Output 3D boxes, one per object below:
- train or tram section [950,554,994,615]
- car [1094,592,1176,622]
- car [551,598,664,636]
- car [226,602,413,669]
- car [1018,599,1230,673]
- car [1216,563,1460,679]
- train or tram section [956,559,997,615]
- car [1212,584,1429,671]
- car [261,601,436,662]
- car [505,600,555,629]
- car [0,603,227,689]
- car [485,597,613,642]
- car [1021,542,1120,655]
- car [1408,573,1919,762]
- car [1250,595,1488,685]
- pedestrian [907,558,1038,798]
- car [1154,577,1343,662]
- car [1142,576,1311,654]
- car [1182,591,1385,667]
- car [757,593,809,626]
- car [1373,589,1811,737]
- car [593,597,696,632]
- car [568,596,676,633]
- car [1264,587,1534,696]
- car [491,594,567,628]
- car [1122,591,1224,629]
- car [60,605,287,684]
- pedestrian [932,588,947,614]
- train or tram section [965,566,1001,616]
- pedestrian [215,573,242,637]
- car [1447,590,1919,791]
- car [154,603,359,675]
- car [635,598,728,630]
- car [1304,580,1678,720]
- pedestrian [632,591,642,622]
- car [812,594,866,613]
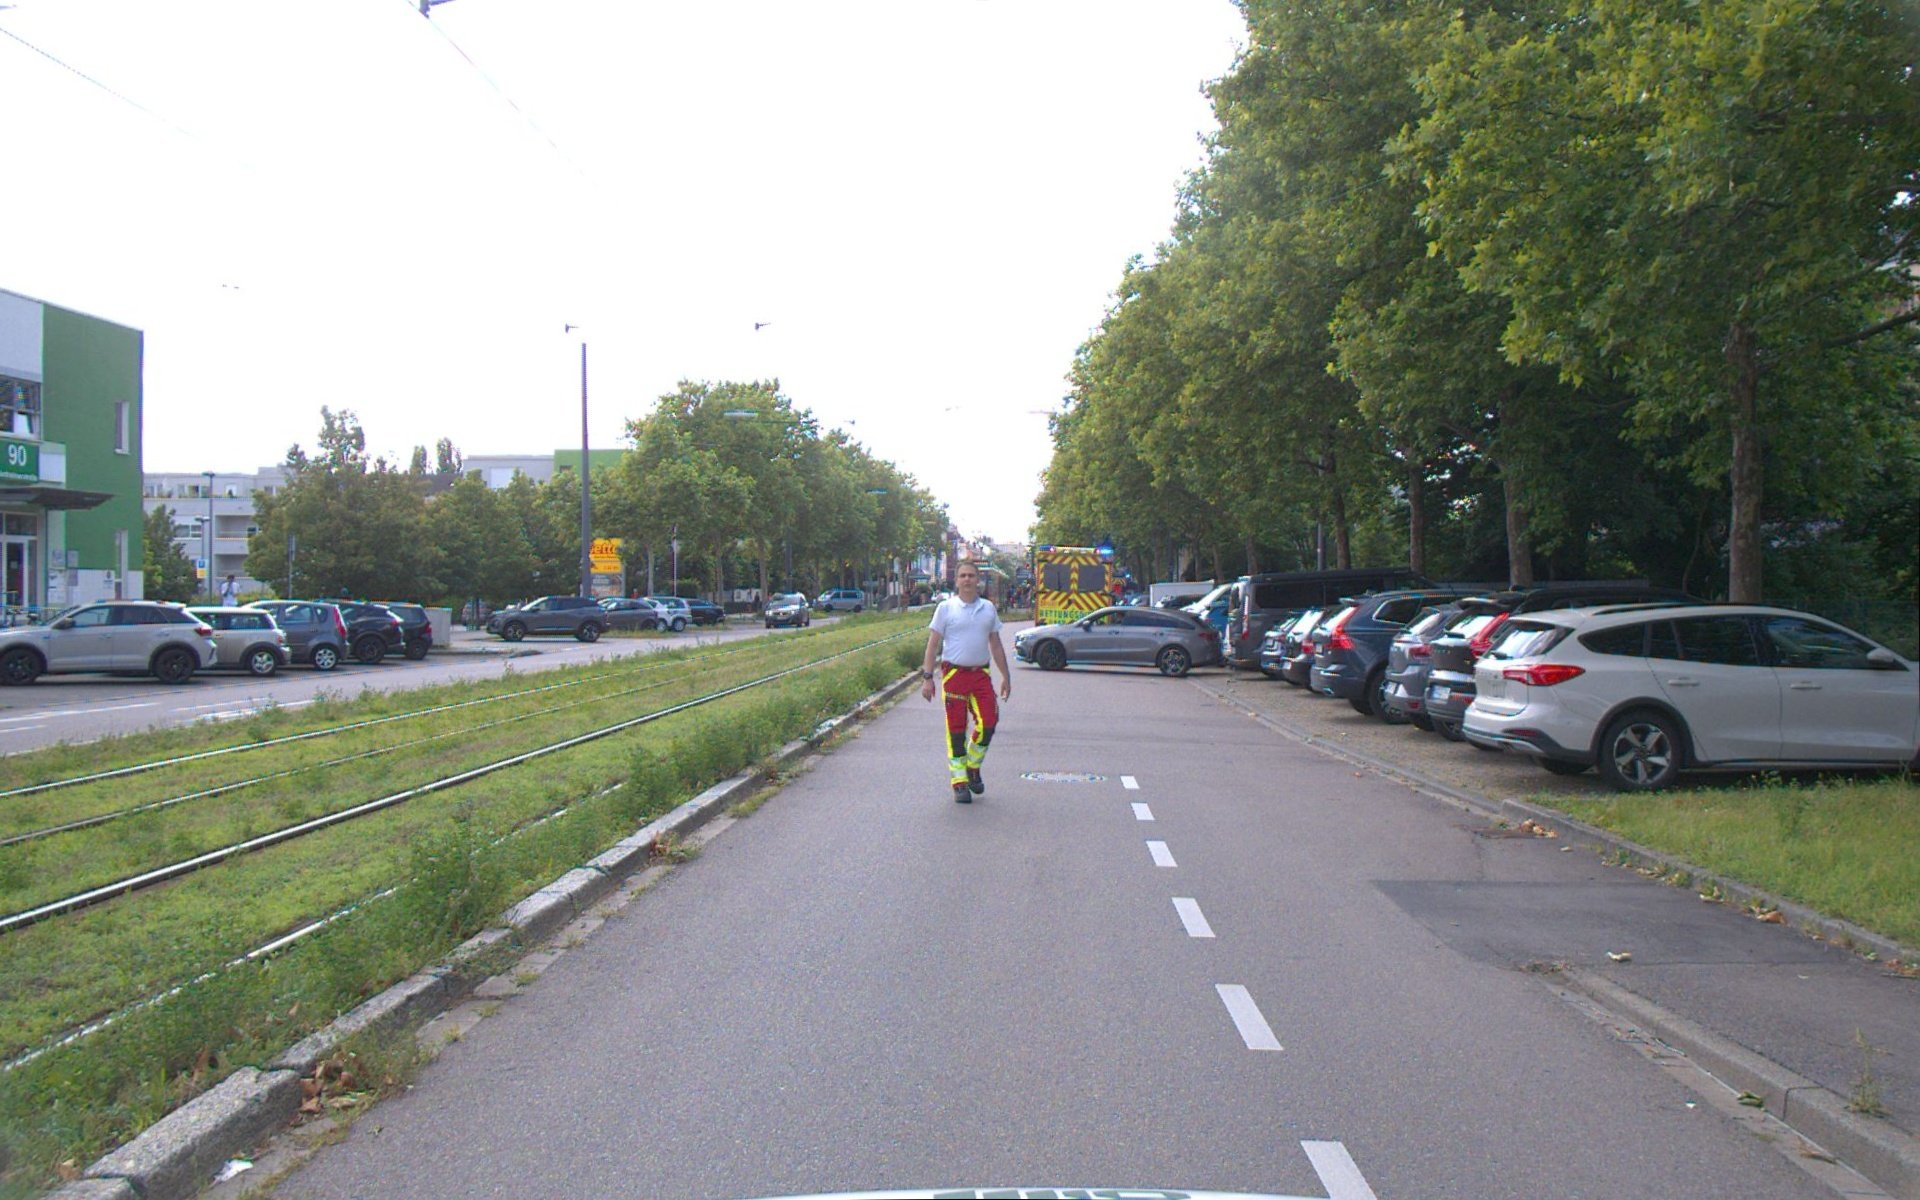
[{"bbox_3d":[0.819,-0.936,105.590,2.459,3.647,7.447,-1,-1,3],"label":"train or tram section"},{"bbox_3d":[10.004,0.386,94.846,4.453,1.637,1.855,-1,0,-1],"label":"car"},{"bbox_3d":[-14.519,0.694,68.248,4.182,1.508,1.862,1,0,-33],"label":"car"},{"bbox_3d":[-15.729,0.841,40.642,4.170,1.508,1.867,-1,0,-27],"label":"car"},{"bbox_3d":[3.582,0.761,35.946,4.358,1.409,1.768,2,0,13],"label":"car"},{"bbox_3d":[7.451,0.406,32.956,4.451,2.160,1.856,-1,0,2],"label":"car"},{"bbox_3d":[1.153,-0.844,113.017,2.459,3.647,7.447,-1,-1,3],"label":"train or tram section"},{"bbox_3d":[7.973,0.600,36.909,4.451,1.797,1.856,-1,0,2],"label":"car"},{"bbox_3d":[-16.130,0.801,43.637,4.170,1.508,1.867,-1,0,-27],"label":"car"},{"bbox_3d":[-27.802,0.899,106.955,1.952,1.780,4.002,2,0,3],"label":"car"},{"bbox_3d":[-16.374,0.836,31.586,4.179,1.508,1.863,-1,0,-32],"label":"car"},{"bbox_3d":[-14.450,0.681,58.088,4.162,1.508,1.871,1,0,-22],"label":"car"},{"bbox_3d":[3.301,-0.033,48.867,2.586,3.018,6.303,3,0,4],"label":"car"},{"bbox_3d":[6.926,0.612,16.195,4.563,1.654,1.847,-1,0,-1],"label":"car"},{"bbox_3d":[7.325,0.713,29.900,3.883,1.520,1.756,-1,-1,2],"label":"car"},{"bbox_3d":[0.080,0.560,12.330,0.790,1.716,0.848,1,0,-14],"label":"pedestrian"},{"bbox_3d":[7.277,0.475,42.024,4.453,2.036,1.855,-1,0,-1],"label":"car"},{"bbox_3d":[7.465,0.407,46.618,4.453,2.079,1.855,-1,0,-1],"label":"car"},{"bbox_3d":[7.663,0.673,39.463,4.454,1.689,1.855,-1,0,-2],"label":"car"},{"bbox_3d":[-8.815,0.460,82.906,1.952,1.585,4.371,-1,0,2],"label":"car"},{"bbox_3d":[7.005,0.683,18.698,4.288,1.527,1.757,-1,0,5],"label":"car"},{"bbox_3d":[-14.125,0.662,74.166,4.182,1.508,1.862,1,0,-33],"label":"car"},{"bbox_3d":[-14.530,0.642,71.167,4.182,1.508,1.862,1,0,-33],"label":"car"},{"bbox_3d":[7.130,0.645,27.027,3.891,1.633,1.753,-1,0,-8],"label":"car"},{"bbox_3d":[-24.040,0.615,92.282,3.918,1.780,1.993,2,0,35],"label":"car"},{"bbox_3d":[9.849,0.448,76.735,4.453,1.637,1.855,-1,0,-1],"label":"car"},{"bbox_3d":[-16.345,0.889,34.516,4.170,1.508,1.867,-1,0,-27],"label":"car"},{"bbox_3d":[-1.260,0.066,101.031,0.862,1.552,0.751,2,-1,2],"label":"pedestrian"},{"bbox_3d":[1.844,-0.660,127.884,2.459,3.647,7.447,-1,-1,3],"label":"train or tram section"},{"bbox_3d":[-21.501,0.146,48.609,0.534,1.860,0.509,0,0,1],"label":"pedestrian"},{"bbox_3d":[6.673,0.702,13.972,4.563,1.499,1.847,-1,0,-1],"label":"car"},{"bbox_3d":[-15.965,0.841,37.571,4.170,1.508,1.867,-1,0,-27],"label":"car"},{"bbox_3d":[-13.863,0.691,82.372,4.189,1.508,1.859,1,0,-37],"label":"car"},{"bbox_3d":[6.750,0.631,21.391,4.288,1.668,1.757,-1,0,5],"label":"car"},{"bbox_3d":[-17.880,0.349,91.595,0.456,1.706,0.603,0,0,1],"label":"pedestrian"},{"bbox_3d":[-10.731,0.280,146.860,4.577,1.661,1.859,0,0,-36],"label":"car"}]
